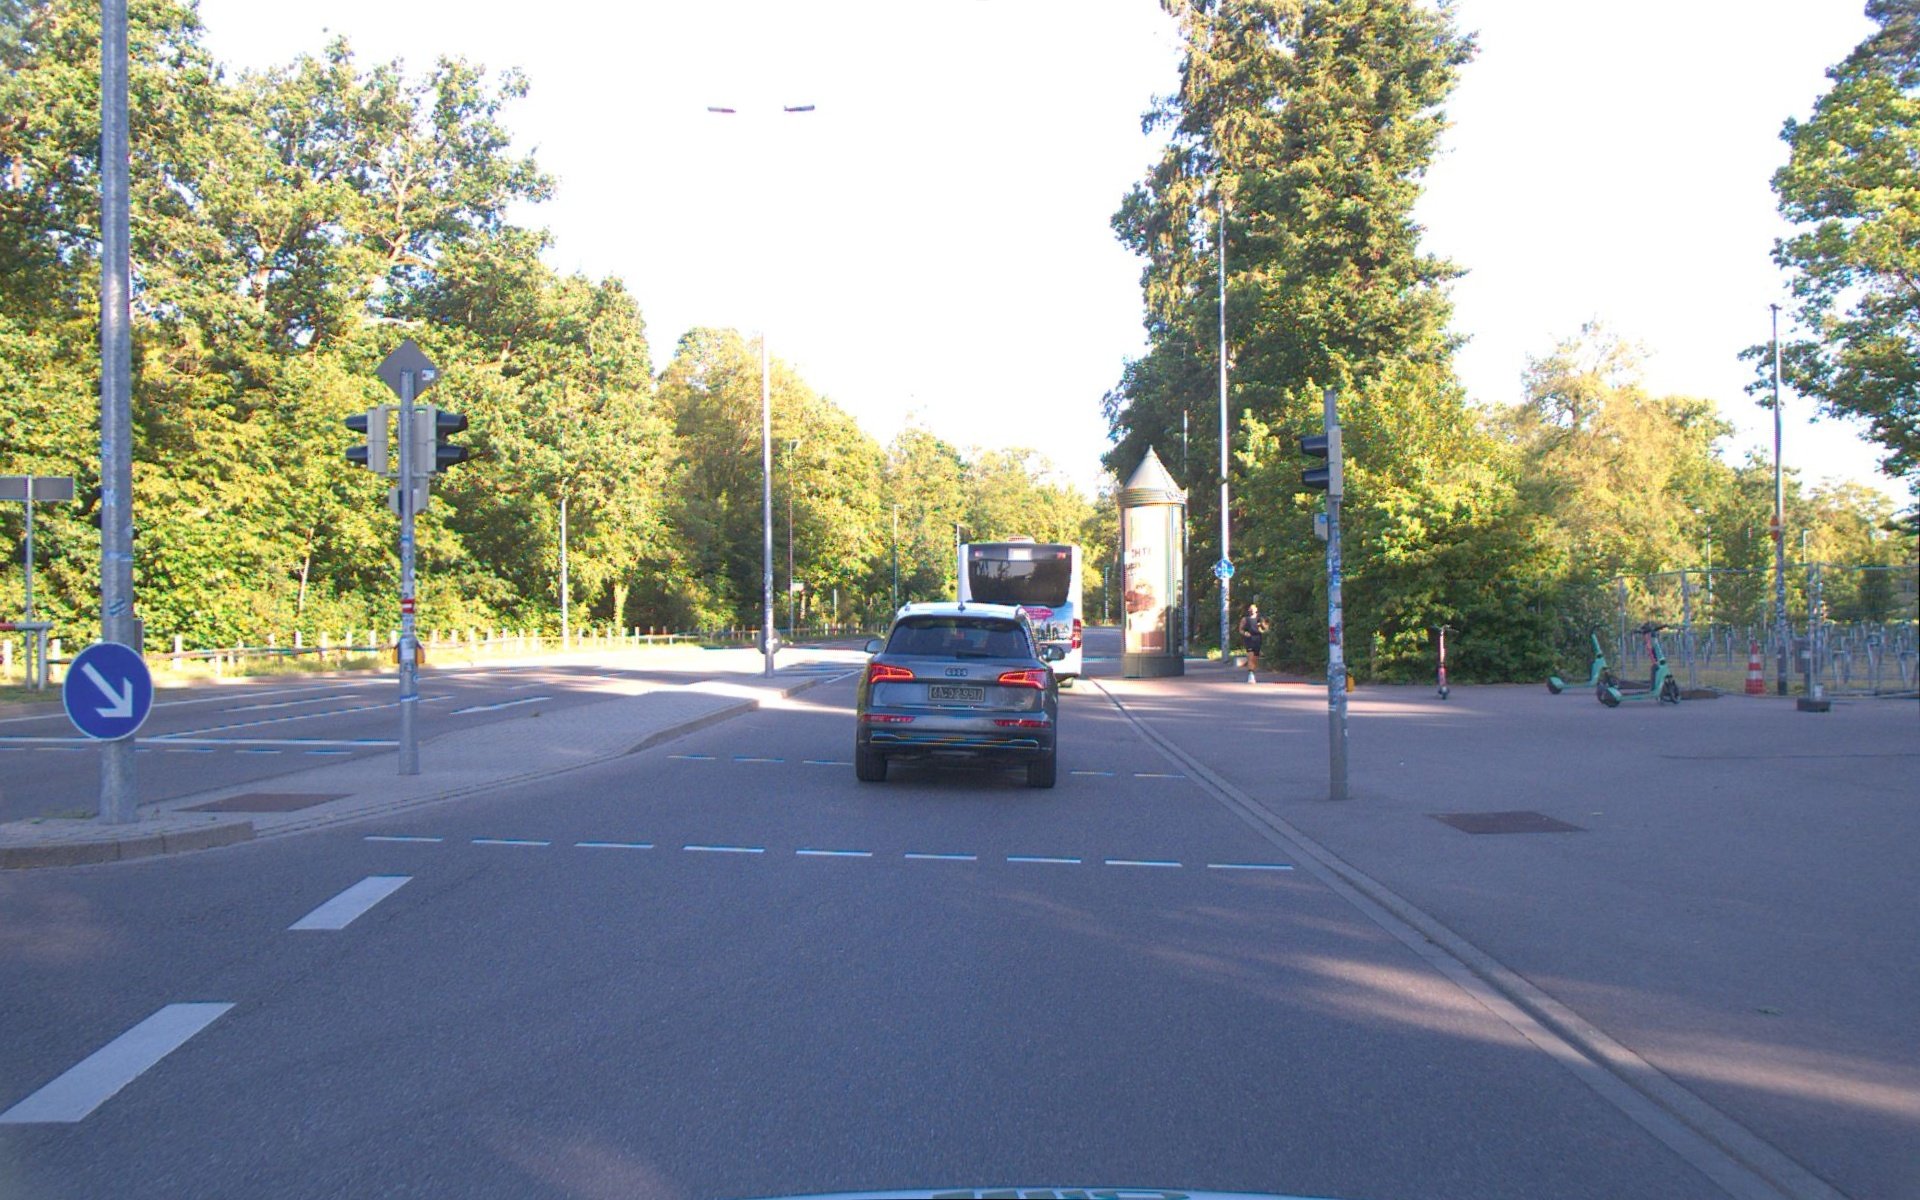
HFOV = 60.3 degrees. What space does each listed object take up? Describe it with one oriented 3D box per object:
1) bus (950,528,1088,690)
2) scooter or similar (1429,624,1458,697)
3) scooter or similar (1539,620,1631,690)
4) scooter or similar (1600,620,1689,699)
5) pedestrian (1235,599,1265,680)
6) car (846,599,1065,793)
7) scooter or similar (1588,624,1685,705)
[{"bbox_3d":[1.148,0.245,38.122,2.634,3.096,12.039,1,-1,0],"label":"bus"},{"bbox_3d":[8.291,1.023,28.382,0.275,1.192,1.410,-2,0,9],"label":"scooter or similar"},{"bbox_3d":[10.783,0.955,28.563,1.411,1.187,0.393,-2,-2,30],"label":"scooter or similar"},{"bbox_3d":[10.557,0.924,25.523,1.220,1.187,0.394,-2,-2,26],"label":"scooter or similar"},{"bbox_3d":[6.267,0.845,35.775,0.612,1.718,0.883,1,-1,10],"label":"pedestrian"},{"bbox_3d":[-0.034,0.843,16.539,1.854,1.633,4.544,1,0,0],"label":"car"},{"bbox_3d":[10.212,0.970,24.985,1.238,1.167,0.394,-2,-2,8],"label":"scooter or similar"}]
